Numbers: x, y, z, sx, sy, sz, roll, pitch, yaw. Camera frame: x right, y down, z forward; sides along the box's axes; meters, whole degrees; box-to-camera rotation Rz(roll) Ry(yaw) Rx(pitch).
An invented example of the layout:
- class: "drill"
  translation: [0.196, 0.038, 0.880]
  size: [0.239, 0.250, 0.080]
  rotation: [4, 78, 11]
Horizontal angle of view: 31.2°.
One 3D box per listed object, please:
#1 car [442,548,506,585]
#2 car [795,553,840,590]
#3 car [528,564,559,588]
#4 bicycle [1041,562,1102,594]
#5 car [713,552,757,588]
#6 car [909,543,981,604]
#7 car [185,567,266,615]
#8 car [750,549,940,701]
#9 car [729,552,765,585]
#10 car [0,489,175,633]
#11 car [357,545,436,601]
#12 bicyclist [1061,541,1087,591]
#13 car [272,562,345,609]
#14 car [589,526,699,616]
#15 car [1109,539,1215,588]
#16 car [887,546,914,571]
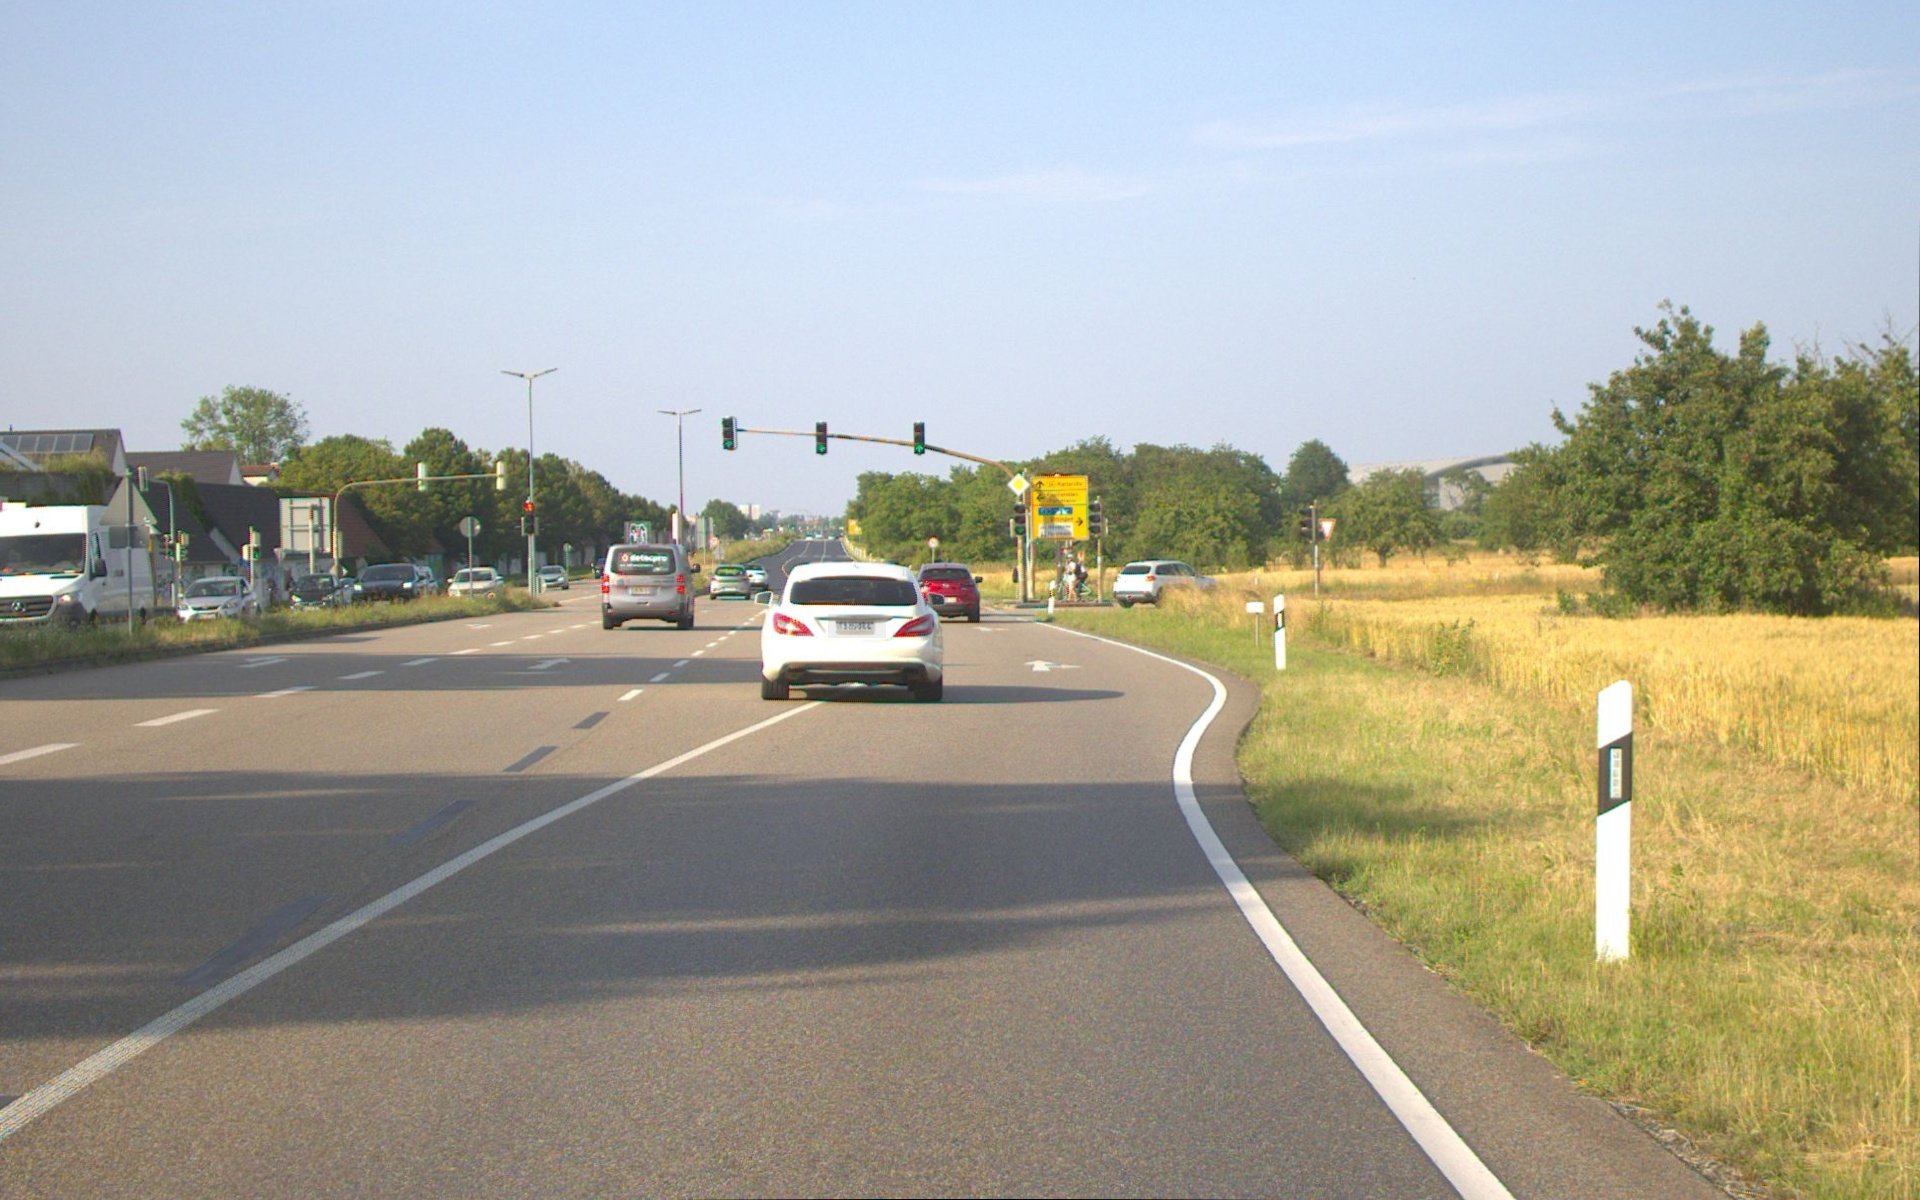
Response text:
- class: "car"
  translation: [-17.813, -1.245, 126.194]
  size: [1.873, 1.317, 4.714]
  rotation: [1, 1, -2]
- class: "car"
  translation: [-6.625, -1.324, 159.688]
  size: [1.839, 1.678, 4.001]
  rotation: [1, 1, -6]
- class: "car"
  translation: [-25.572, -1.487, 211.150]
  size: [1.783, 1.432, 4.358]
  rotation: [1, 1, -5]
- class: "bicycle"
  translation: [3.928, -0.790, 121.125]
  size: [2.096, 1.085, 0.808]
  rotation: [1, 1, 2]
- class: "car"
  translation: [-9.639, -1.315, 147.308]
  size: [1.717, 1.487, 3.585]
  rotation: [1, 1, -1]
- class: "car"
  translation: [-0.403, -0.694, 88.038]
  size: [1.754, 1.511, 4.000]
  rotation: [-1, 1, -1]
- class: "car"
  translation: [-20.383, -0.258, 95.499]
  size: [1.684, 1.282, 3.147]
  rotation: [1, 1, -3]
- class: "car"
  translation: [-1.221, 0.222, 36.391]
  size: [1.894, 1.503, 4.000]
  rotation: [0, 1, -2]
- class: "car"
  translation: [-11.300, -1.687, 182.279]
  size: [1.775, 1.660, 3.664]
  rotation: [1, 1, -5]
- class: "car"
  translation: [-15.335, -0.698, 59.026]
  size: [2.348, 2.295, 7.192]
  rotation: [1, 1, -2]
- class: "car"
  translation: [-16.892, -0.835, 103.268]
  size: [1.731, 1.619, 4.923]
  rotation: [1, 1, -2]
- class: "bicyclist"
  translation: [4.022, -1.195, 121.102]
  size: [0.848, 1.750, 0.799]
  rotation: [1, 1, -1]
- class: "car"
  translation: [-21.406, -0.495, 113.118]
  size: [1.710, 1.451, 4.000]
  rotation: [1, 1, -1]
- class: "car"
  translation: [-6.943, -0.676, 75.969]
  size: [2.025, 1.885, 4.959]
  rotation: [1, 1, -1]
- class: "car"
  translation: [6.841, -1.224, 115.886]
  size: [1.858, 1.592, 3.993]
  rotation: [1, 1, 32]
- class: "car"
  translation: [-3.234, -2.268, 187.506]
  size: [1.439, 1.279, 2.914]
  rotation: [1, 1, -1]
